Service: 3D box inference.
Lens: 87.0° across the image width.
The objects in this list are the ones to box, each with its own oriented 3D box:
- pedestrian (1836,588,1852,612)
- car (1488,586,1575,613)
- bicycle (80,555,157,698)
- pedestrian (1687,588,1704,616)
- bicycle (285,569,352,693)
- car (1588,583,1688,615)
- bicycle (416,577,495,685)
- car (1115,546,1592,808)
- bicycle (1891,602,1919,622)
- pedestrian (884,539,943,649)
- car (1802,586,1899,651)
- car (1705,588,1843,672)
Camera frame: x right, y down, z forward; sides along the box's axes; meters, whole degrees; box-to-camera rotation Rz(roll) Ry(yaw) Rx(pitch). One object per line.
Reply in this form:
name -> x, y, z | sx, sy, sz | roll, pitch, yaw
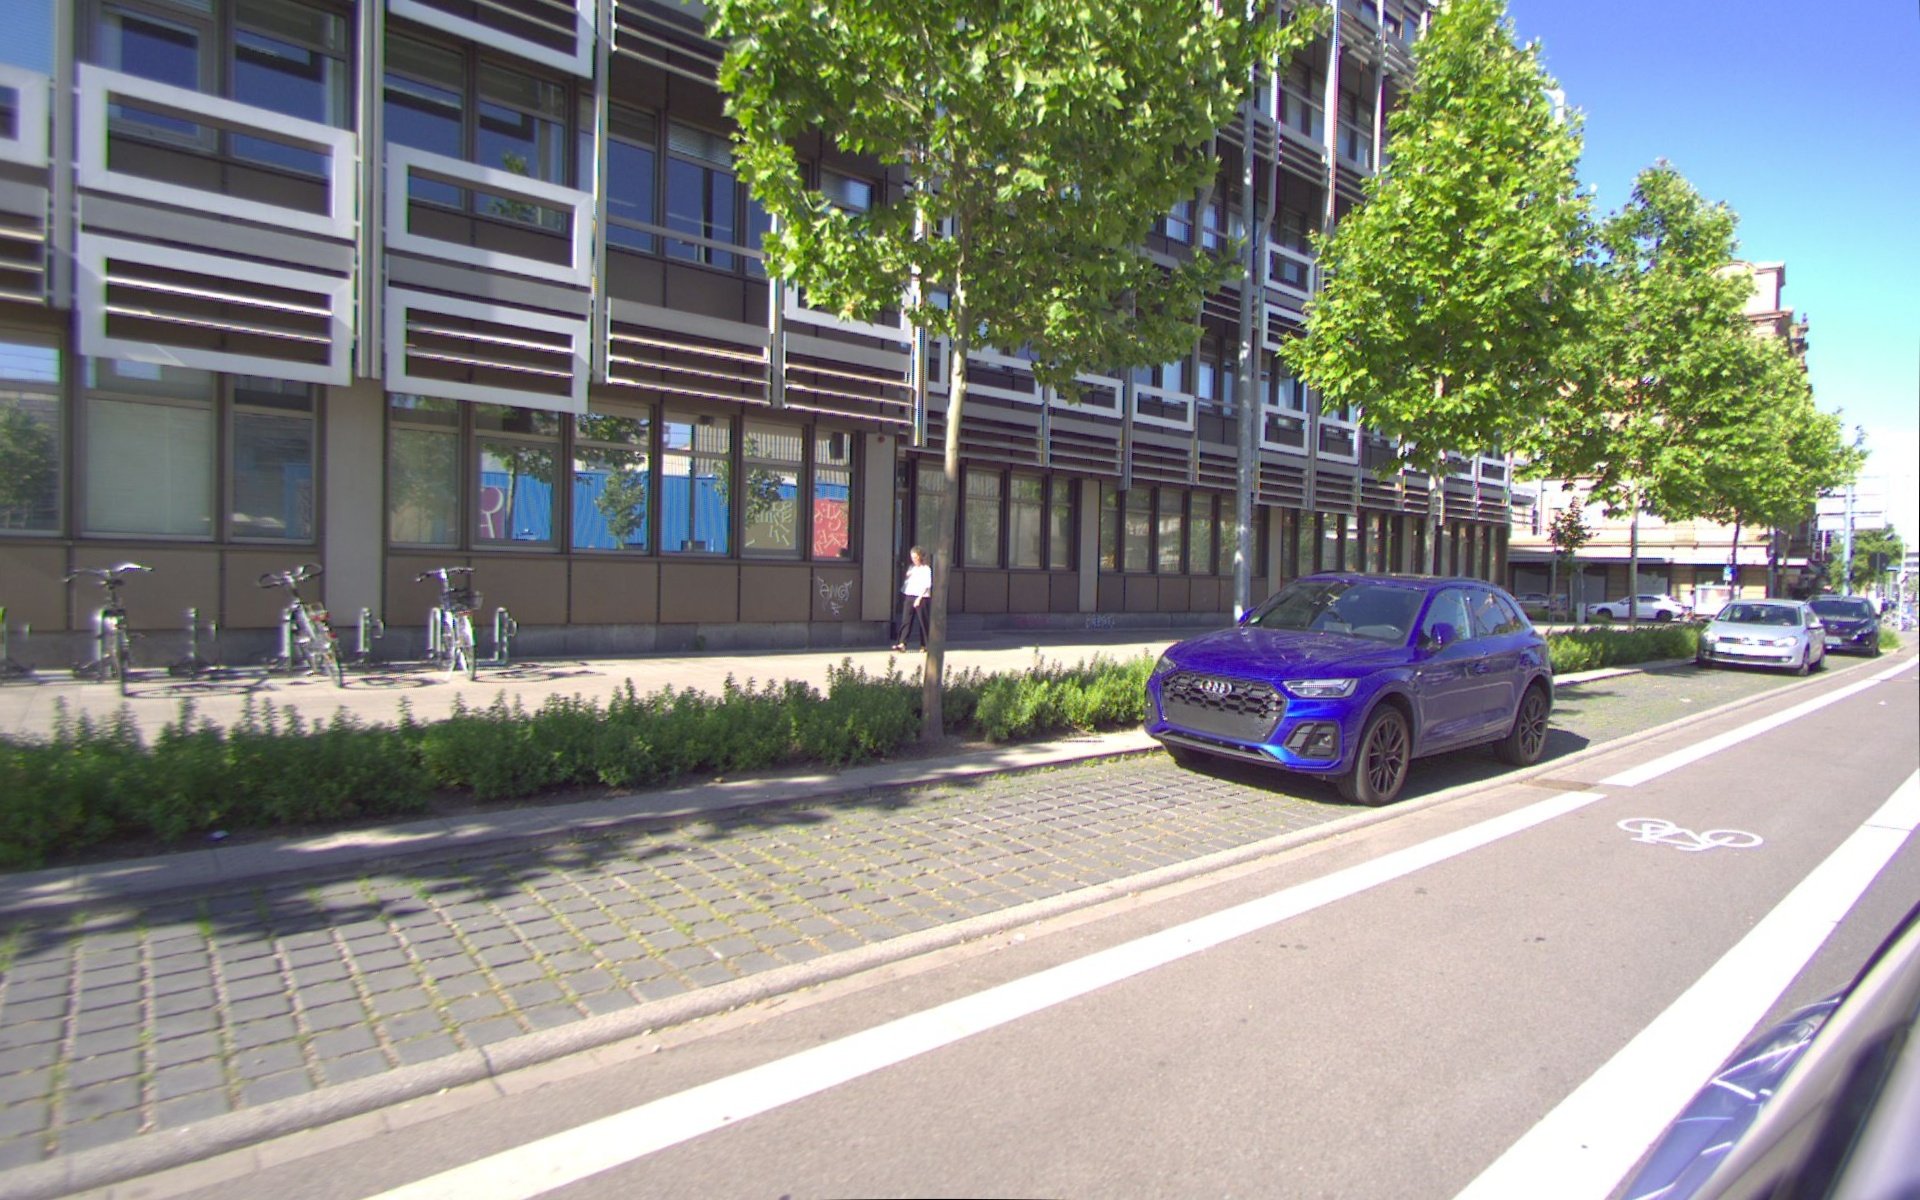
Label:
pedestrian -> 60.821, -0.022, 69.619 | 0.751, 1.603, 0.796 | 5, 3, 44
car -> 32.624, -0.049, 57.833 | 4.166, 1.412, 1.537 | 2, 0, 36
bicycle -> -7.638, 0.187, 9.220 | 0.419, 1.111, 1.864 | 1, 4, -36
pedestrian -> 39.346, 0.085, 54.127 | 0.680, 1.468, 0.536 | 2, 1, 39
bicycle -> -6.288, 0.257, 9.880 | 0.419, 1.023, 1.864 | 1, 4, -36
car -> 36.697, -0.083, 54.831 | 4.382, 1.563, 1.829 | 2, 2, 36
bicycle -> -5.332, 0.281, 10.639 | 0.419, 0.950, 1.864 | 1, 4, -36
car -> 3.647, 0.473, 8.872 | 4.763, 1.677, 1.853 | 0, 3, -41
bicycle -> 57.793, 0.757, 61.259 | 2.050, 1.133, 0.593 | 5, 4, 44
pedestrian -> -0.721, -0.098, 15.619 | 0.661, 1.642, 0.512 | 1, 3, -39
car -> 25.400, 0.475, 28.803 | 4.397, 1.679, 1.749 | 0, 2, -45
car -> 16.939, 0.556, 20.989 | 4.085, 1.483, 1.620 | 0, 3, -43
